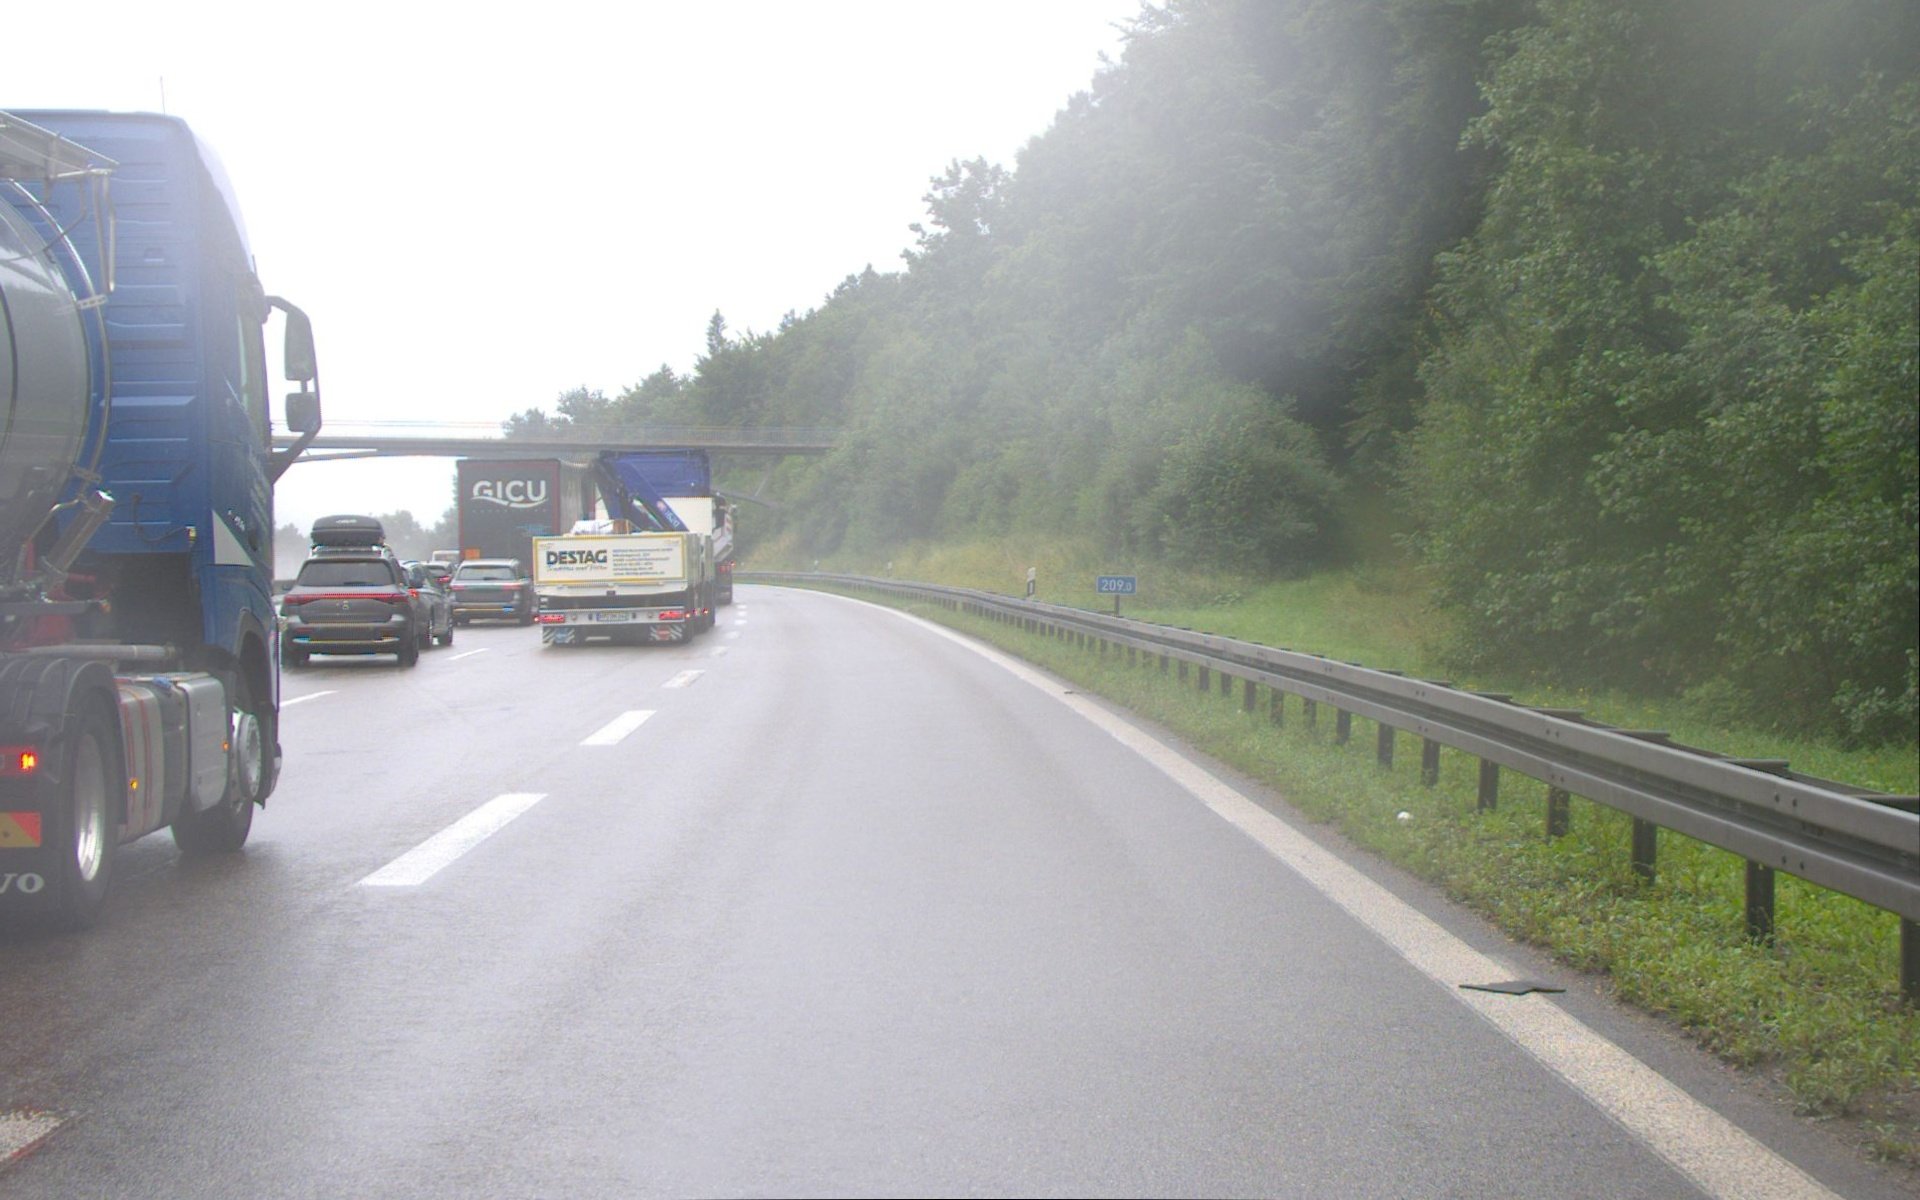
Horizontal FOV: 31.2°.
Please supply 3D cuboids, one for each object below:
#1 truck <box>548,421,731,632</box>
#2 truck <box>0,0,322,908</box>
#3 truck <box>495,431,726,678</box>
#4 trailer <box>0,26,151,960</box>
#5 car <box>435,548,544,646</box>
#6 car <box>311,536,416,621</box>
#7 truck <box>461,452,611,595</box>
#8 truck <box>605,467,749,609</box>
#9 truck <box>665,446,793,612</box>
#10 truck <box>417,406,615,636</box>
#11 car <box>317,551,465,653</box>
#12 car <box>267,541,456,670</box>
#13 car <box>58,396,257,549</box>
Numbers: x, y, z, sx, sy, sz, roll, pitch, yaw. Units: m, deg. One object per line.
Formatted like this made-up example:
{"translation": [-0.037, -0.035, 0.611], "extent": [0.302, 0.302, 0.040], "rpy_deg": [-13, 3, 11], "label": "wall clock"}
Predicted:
{"translation": [-7.159, -1.508, 78.351], "extent": [3.507, 4.253, 10.604], "rpy_deg": [3, -1, -3], "label": "truck"}
{"translation": [-4.904, -0.634, 16.411], "extent": [2.877, 3.681, 5.057], "rpy_deg": [0, 1, -1], "label": "truck"}
{"translation": [-6.176, -0.843, 62.692], "extent": [3.599, 4.091, 11.561], "rpy_deg": [0, 1, -3], "label": "truck"}
{"translation": [-4.720, -0.336, 9.581], "extent": [2.873, 3.277, 10.079], "rpy_deg": [0, 1, -2], "label": "trailer"}
{"translation": [-10.370, -0.032, 75.974], "extent": [1.793, 2.007, 4.000], "rpy_deg": [3, -1, -1], "label": "car"}
{"translation": [-14.228, -0.492, 82.136], "extent": [1.844, 1.853, 4.000], "rpy_deg": [3, -1, -2], "label": "car"}
{"translation": [-13.289, -2.314, 108.666], "extent": [3.576, 4.081, 10.879], "rpy_deg": [0, -1, -1], "label": "truck"}
{"translation": [-8.905, -1.851, 109.677], "extent": [3.754, 3.957, 11.059], "rpy_deg": [3, -1, -1], "label": "truck"}
{"translation": [-8.741, -2.585, 130.633], "extent": [4.335, 5.744, 9.731], "rpy_deg": [3, -1, -3], "label": "truck"}
{"translation": [-11.602, -1.923, 90.990], "extent": [3.754, 5.480, 10.172], "rpy_deg": [3, -1, -1], "label": "truck"}
{"translation": [-9.624, 0.003, 58.446], "extent": [1.938, 1.656, 4.000], "rpy_deg": [0, 1, -1], "label": "car"}
{"translation": [-8.408, 0.105, 48.634], "extent": [1.993, 1.630, 4.000], "rpy_deg": [3, -1, -2], "label": "car"}
{"translation": [-11.168, -1.741, 48.091], "extent": [1.797, 1.831, 4.000], "rpy_deg": [3, -1, -1], "label": "car"}
